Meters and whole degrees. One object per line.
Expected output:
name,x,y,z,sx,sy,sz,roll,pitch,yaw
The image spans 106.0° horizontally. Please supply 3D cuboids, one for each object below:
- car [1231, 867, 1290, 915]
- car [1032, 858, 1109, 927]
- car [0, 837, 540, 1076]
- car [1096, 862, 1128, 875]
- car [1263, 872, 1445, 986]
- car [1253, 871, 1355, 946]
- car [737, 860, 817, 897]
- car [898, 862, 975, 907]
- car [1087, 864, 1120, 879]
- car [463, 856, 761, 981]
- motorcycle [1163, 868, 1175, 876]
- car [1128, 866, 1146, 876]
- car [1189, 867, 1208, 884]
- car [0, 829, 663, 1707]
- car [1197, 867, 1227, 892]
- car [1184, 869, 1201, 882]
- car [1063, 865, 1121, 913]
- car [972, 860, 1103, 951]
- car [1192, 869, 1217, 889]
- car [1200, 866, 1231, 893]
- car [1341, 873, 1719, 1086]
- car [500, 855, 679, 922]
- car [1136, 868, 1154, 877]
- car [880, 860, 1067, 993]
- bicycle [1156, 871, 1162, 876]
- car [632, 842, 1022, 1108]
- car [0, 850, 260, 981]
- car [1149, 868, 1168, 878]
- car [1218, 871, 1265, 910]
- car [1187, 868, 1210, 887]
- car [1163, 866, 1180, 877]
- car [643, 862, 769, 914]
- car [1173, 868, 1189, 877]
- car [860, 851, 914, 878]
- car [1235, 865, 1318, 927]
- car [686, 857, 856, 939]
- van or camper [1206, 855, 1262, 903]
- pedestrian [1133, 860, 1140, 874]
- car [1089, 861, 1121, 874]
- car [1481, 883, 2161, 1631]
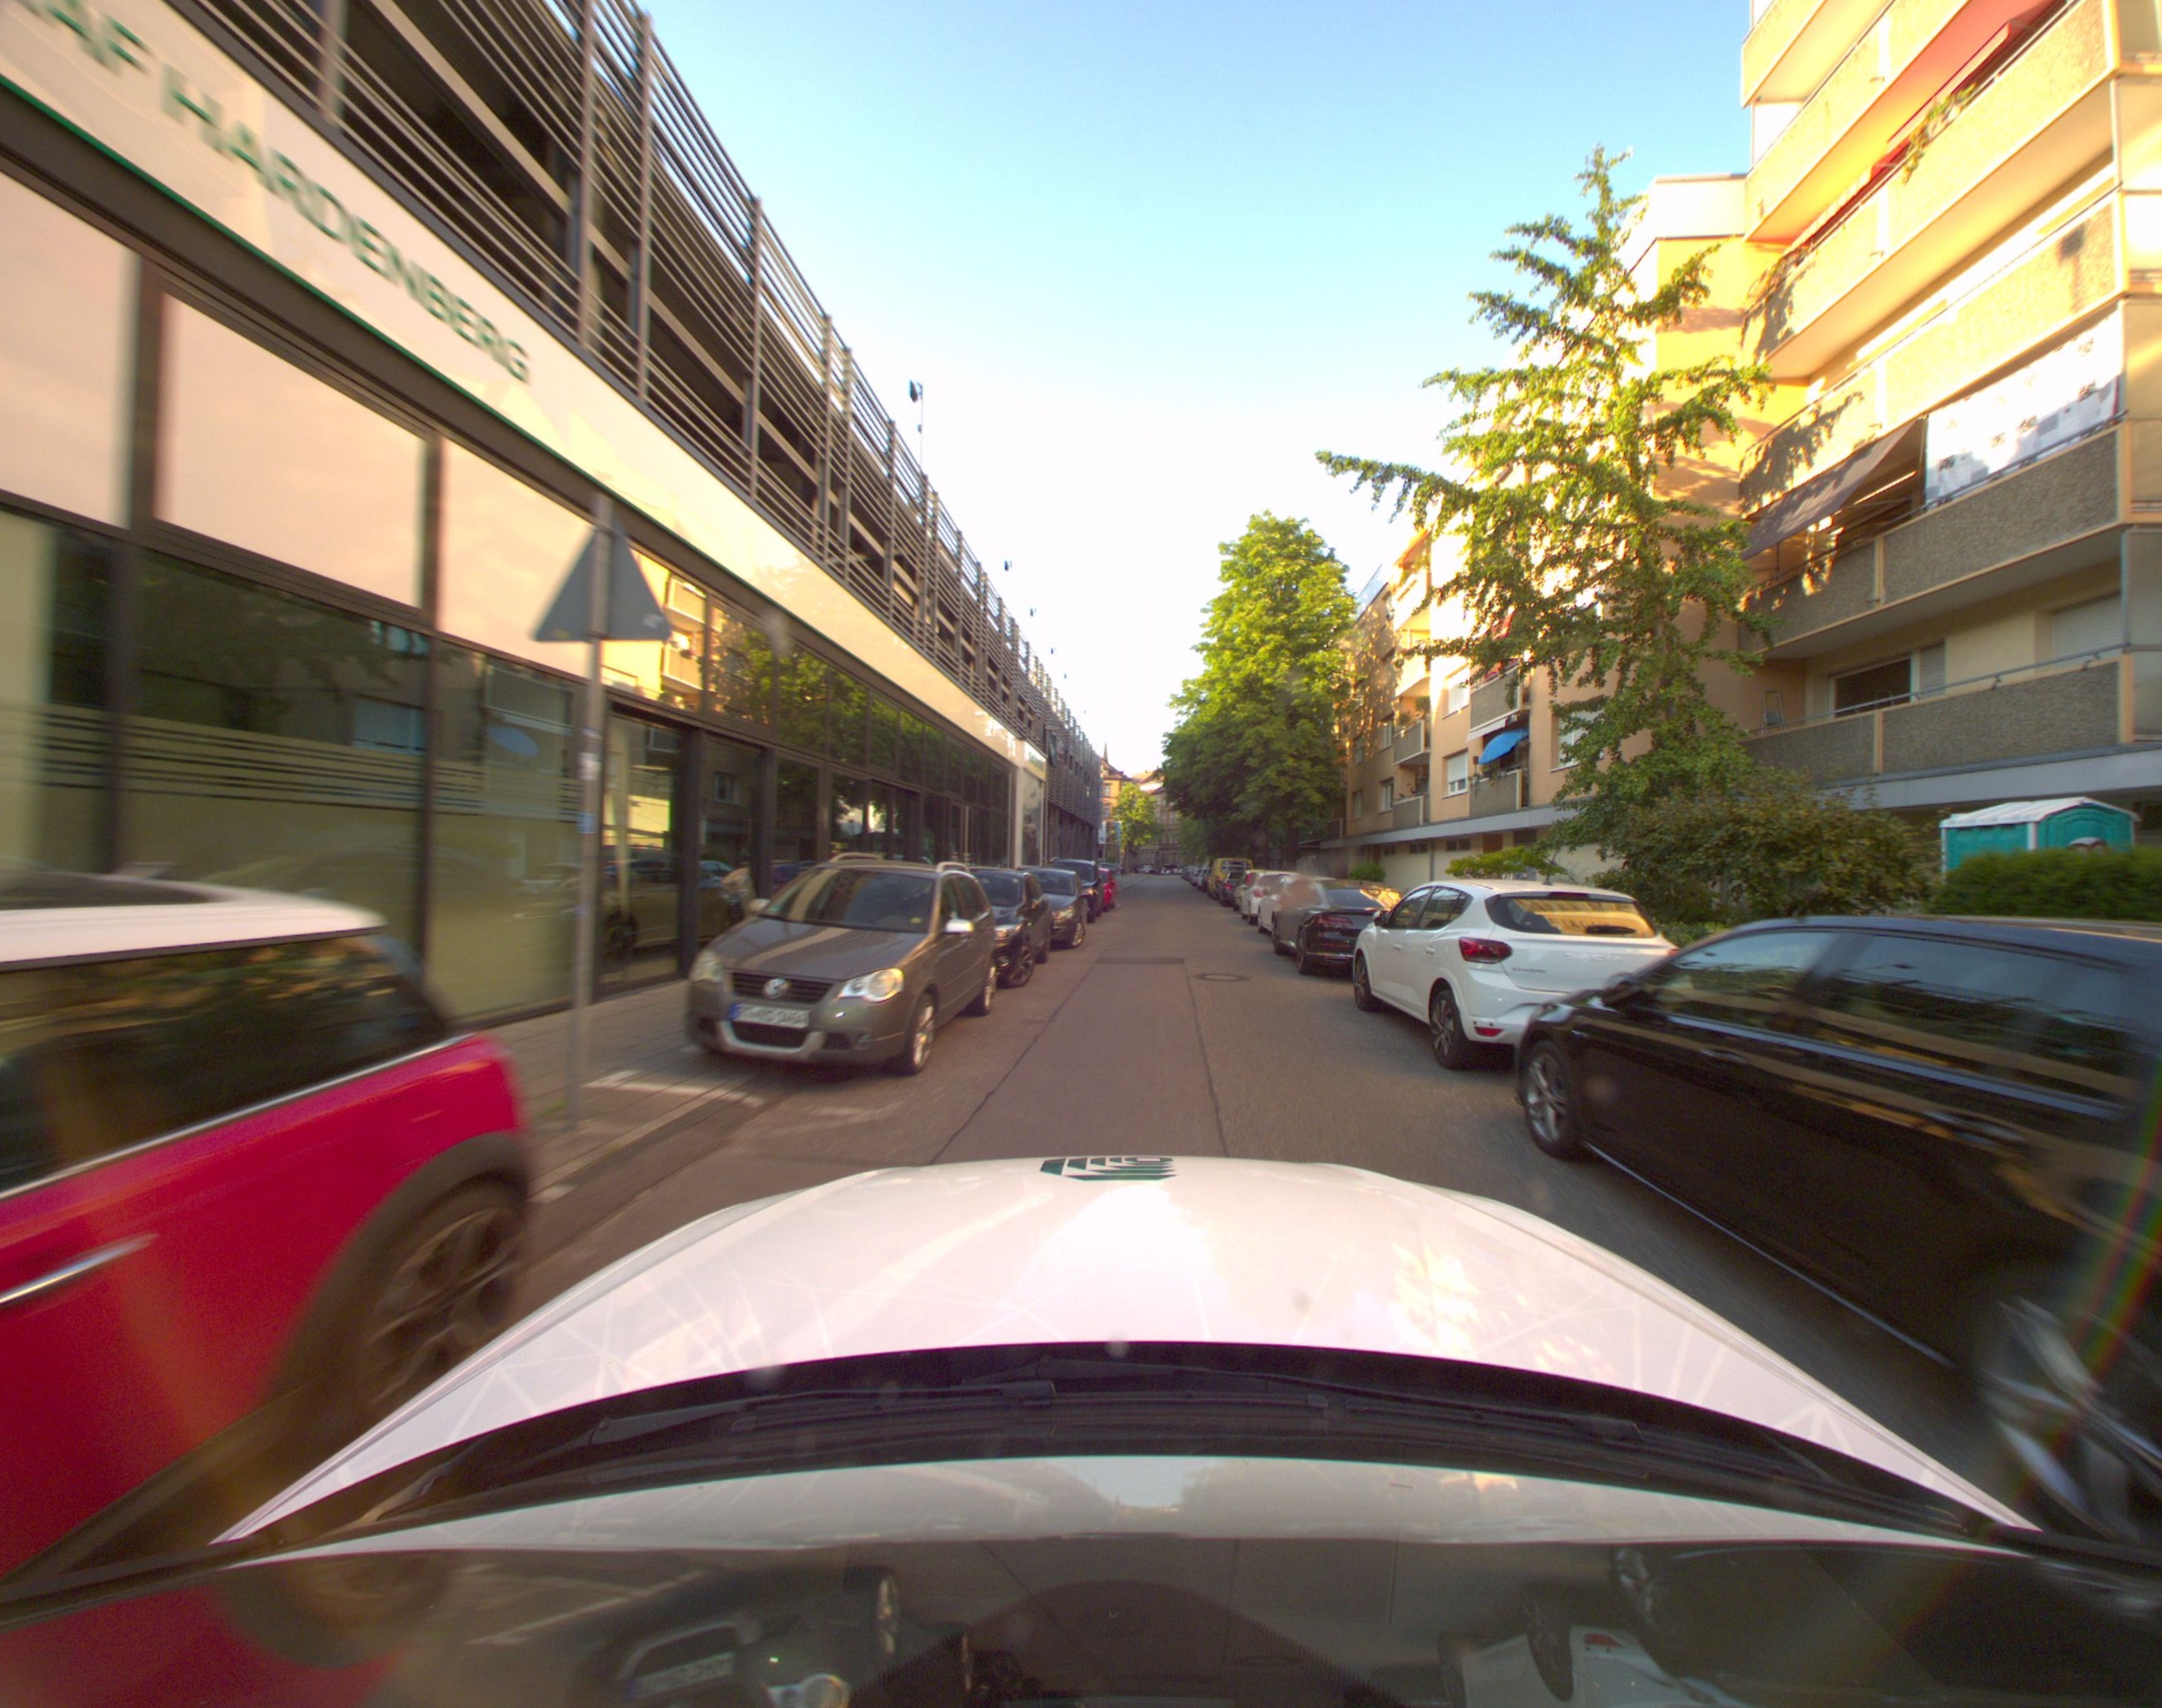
car,6.159,1.234,28.266,1.602,1.510,3.483,1,0,6
car,-0.199,1.011,23.328,1.689,1.756,4.410,1,0,6
car,-7.336,0.722,7.666,1.585,1.650,3.882,1,0,6
car,4.641,2.155,122.486,4.814,1.732,1.920,2,0,-1
car,4.154,1.048,13.180,1.801,1.417,4.632,1,0,6
car,4.969,1.152,18.625,1.602,1.461,4.060,1,0,6
car,-11.012,0.853,29.685,1.412,1.255,3.220,1,0,6
car,-5.030,1.024,28.872,1.689,1.473,3.787,1,0,6
car,2.910,2.236,103.731,4.111,1.618,1.915,3,0,4
car,-6.649,0.809,12.193,1.689,1.515,4.198,1,0,6
motorcycle,13.999,2.879,129.737,1.928,1.340,0.576,1,0,-5
car,9.768,2.968,142.391,1.659,1.431,3.872,2,0,-18
car,11.585,2.087,80.391,1.750,1.604,3.879,1,-1,6
car,-2.561,0.708,1.121,1.655,1.410,3.930,6,0,3
car,8.663,1.671,54.221,1.713,1.519,4.032,1,0,5
car,12.597,2.397,92.004,1.686,1.477,4.123,1,-1,6
car,0.453,1.171,28.593,1.689,1.506,3.796,1,0,6
car,-0.745,0.945,16.929,1.926,1.596,4.214,1,0,7
car,9.722,1.942,64.511,1.750,1.442,4.012,1,0,6
car,8.045,1.501,48.905,1.555,1.450,3.459,1,0,5
car,3.814,0.932,7.767,1.800,1.417,3.902,1,0,6
car,-11.836,0.776,19.948,1.689,1.434,3.926,1,0,6
car,10.869,3.125,137.751,1.658,1.431,4.144,2,0,-16
car,-1.326,0.884,11.760,1.721,1.403,4.011,6,0,5
bicycle,12.252,3.065,127.739,0.421,0.822,1.471,1,0,28
car,-1.778,0.779,7.115,1.653,1.497,3.891,6,0,7
car,-12.676,0.678,9.645,1.689,1.434,3.926,1,0,6
car,12.675,3.097,133.055,1.659,1.431,3.966,2,0,-18
car,6.500,1.430,33.329,1.598,1.382,4.008,1,0,7
car,9.985,1.991,69.528,1.750,1.454,4.399,1,0,6
car,15.693,3.050,141.446,1.679,1.782,2.996,2,0,-18
car,-11.246,0.970,24.747,1.689,1.434,3.926,1,0,6
car,16.936,3.146,137.789,1.679,1.526,2.750,2,0,-18
car,-9.385,0.501,39.679,1.412,1.255,3.533,1,0,6
car,5.540,1.134,23.541,1.783,1.563,4.200,1,0,6
car,-6.378,0.833,17.264,1.689,1.515,4.000,1,0,6
van or camper,7.171,1.098,38.630,2.054,2.096,5.097,1,0,5
pedestrian,7.552,1.778,110.956,0.736,1.804,1.116,1,0,-14
car,3.144,1.797,106.876,4.049,1.618,1.767,1,0,3
car,3.208,0.892,3.124,1.708,1.419,4.034,1,0,6
